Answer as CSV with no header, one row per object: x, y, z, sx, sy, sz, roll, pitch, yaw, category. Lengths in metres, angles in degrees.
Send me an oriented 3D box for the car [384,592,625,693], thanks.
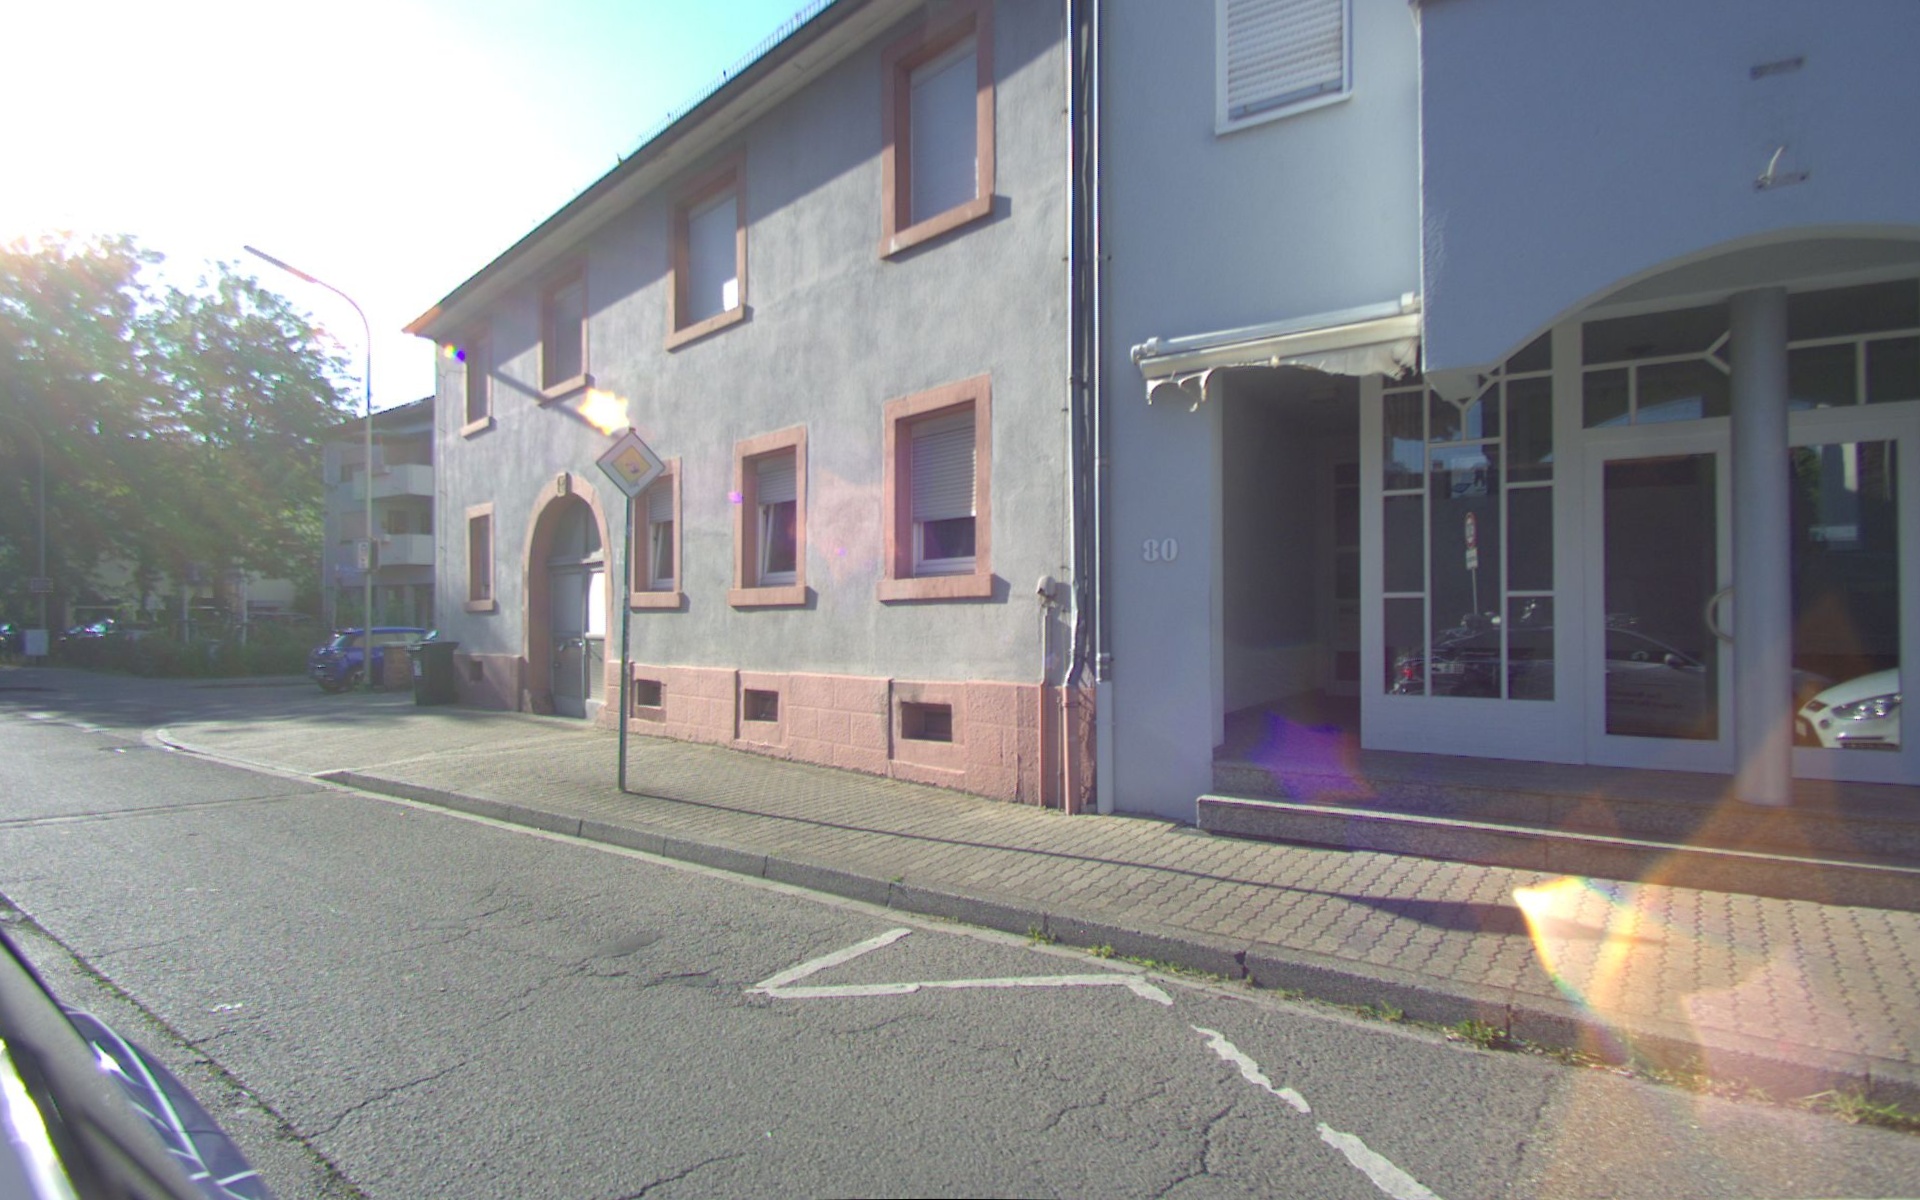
-9.887,0.878,22.235,1.986,1.808,4.321,-5,0,39,car

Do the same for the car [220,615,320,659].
-32.268,1.710,47.323,4.299,1.963,2.007,-1,-1,25,car

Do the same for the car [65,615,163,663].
-35.386,1.610,42.276,4.892,1.909,1.828,-2,-2,33,car

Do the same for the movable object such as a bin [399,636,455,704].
-9.084,1.176,17.239,0.750,1.102,0.593,-1,-1,38,movable object such as a bin

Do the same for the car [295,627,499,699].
-13.223,1.449,23.933,1.997,1.542,3.731,-2,-3,38,car

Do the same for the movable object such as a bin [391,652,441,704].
-9.651,1.373,17.958,0.605,0.879,0.593,-2,-1,36,movable object such as a bin
